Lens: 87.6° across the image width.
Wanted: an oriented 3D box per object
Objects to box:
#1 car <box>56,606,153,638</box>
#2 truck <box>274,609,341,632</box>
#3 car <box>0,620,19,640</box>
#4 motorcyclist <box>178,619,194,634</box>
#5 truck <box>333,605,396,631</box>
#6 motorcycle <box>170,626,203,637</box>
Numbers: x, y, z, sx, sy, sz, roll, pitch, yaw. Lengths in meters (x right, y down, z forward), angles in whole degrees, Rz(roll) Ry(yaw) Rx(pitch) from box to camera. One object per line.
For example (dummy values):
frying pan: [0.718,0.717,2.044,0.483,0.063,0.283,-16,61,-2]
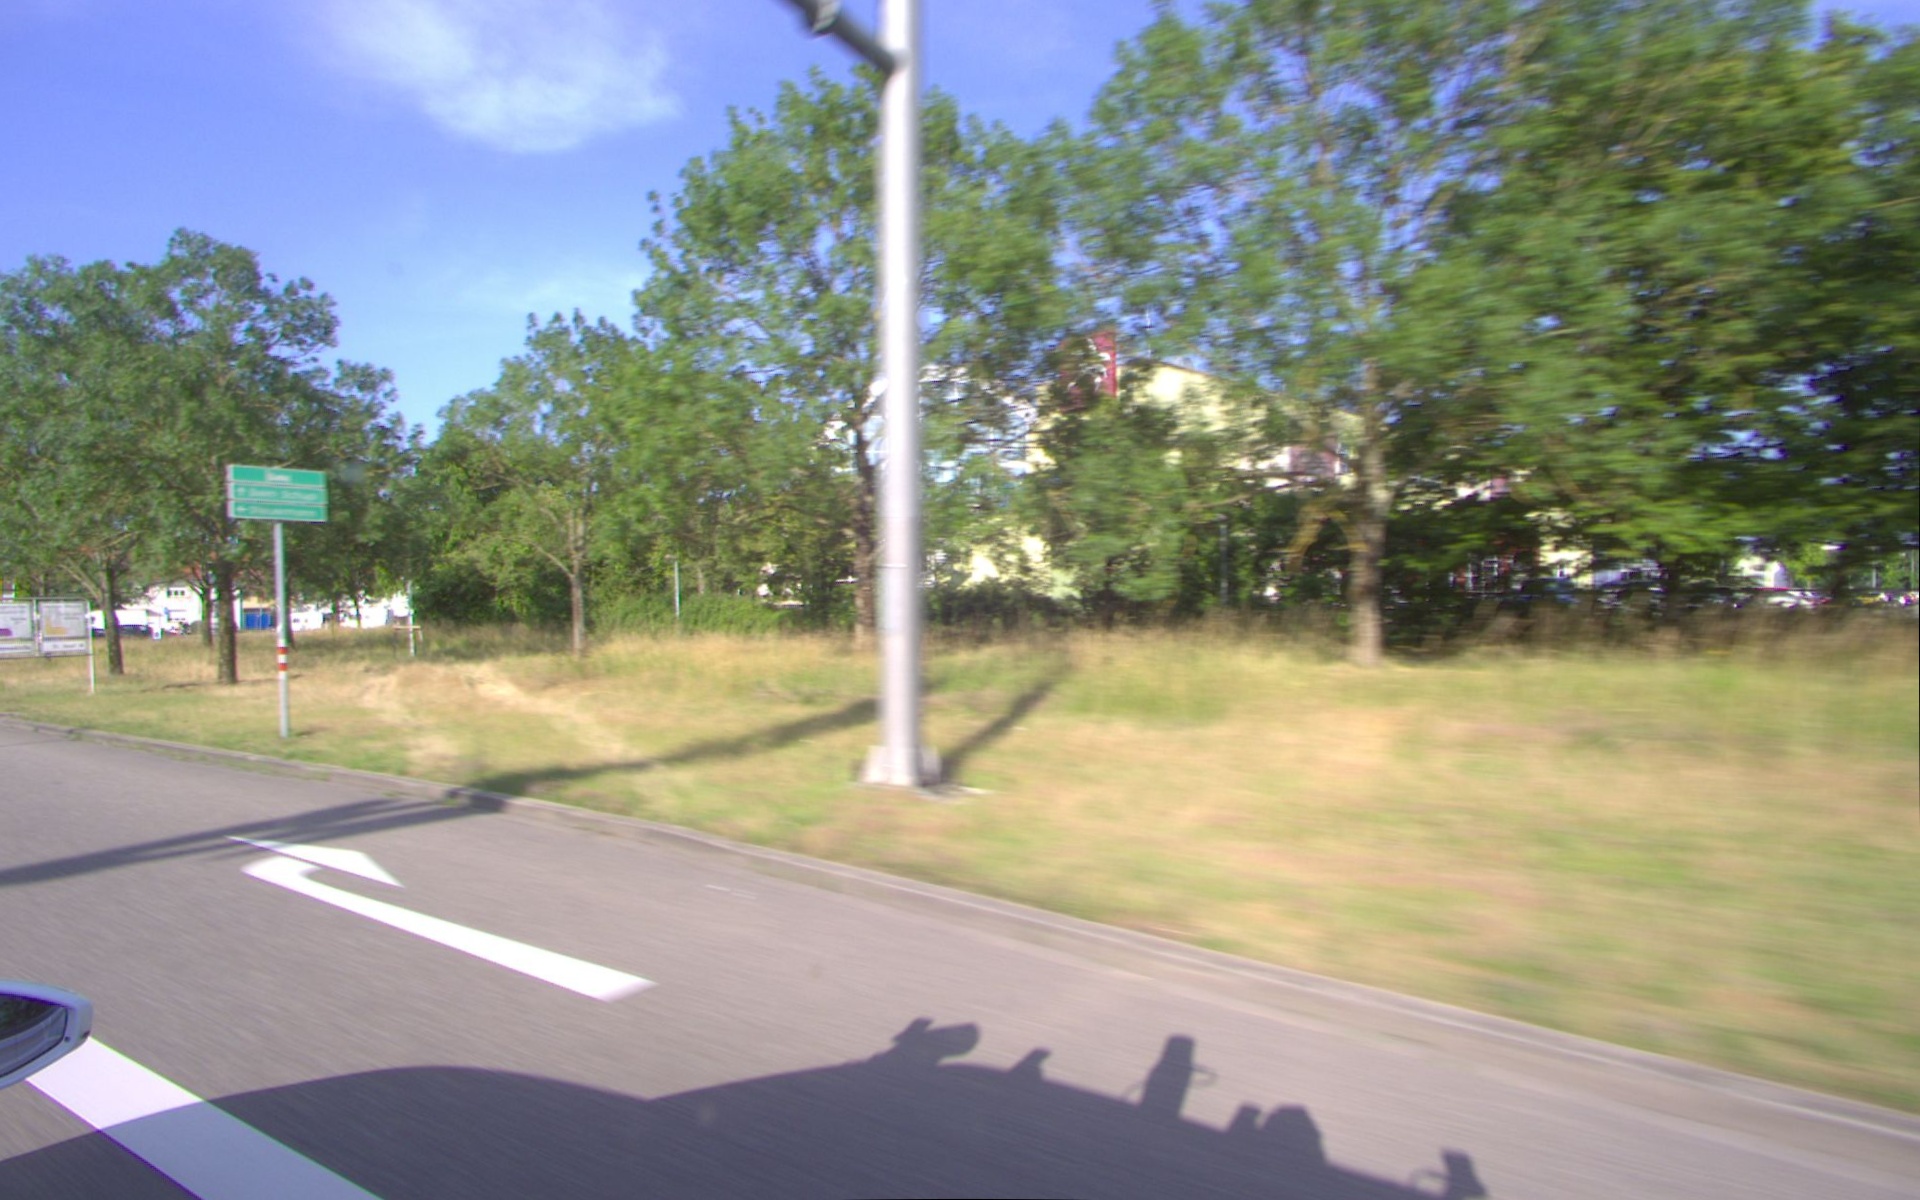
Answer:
car: [-73.857,1.890,86.577,1.978,2.617,6.175,-1,0,42]
truck: [-72.229,2.280,110.923,6.235,2.557,2.277,0,0,7]
car: [-79.219,2.454,80.477,1.820,1.583,5.066,-1,0,43]
motorcyclist: [-69.633,2.404,90.095,0.672,1.369,1.060,-1,0,41]
truck: [-68.822,2.076,115.778,5.961,2.892,1.896,-1,0,-4]
motorcycle: [-69.633,2.832,90.101,0.683,0.878,2.260,-1,0,41]
